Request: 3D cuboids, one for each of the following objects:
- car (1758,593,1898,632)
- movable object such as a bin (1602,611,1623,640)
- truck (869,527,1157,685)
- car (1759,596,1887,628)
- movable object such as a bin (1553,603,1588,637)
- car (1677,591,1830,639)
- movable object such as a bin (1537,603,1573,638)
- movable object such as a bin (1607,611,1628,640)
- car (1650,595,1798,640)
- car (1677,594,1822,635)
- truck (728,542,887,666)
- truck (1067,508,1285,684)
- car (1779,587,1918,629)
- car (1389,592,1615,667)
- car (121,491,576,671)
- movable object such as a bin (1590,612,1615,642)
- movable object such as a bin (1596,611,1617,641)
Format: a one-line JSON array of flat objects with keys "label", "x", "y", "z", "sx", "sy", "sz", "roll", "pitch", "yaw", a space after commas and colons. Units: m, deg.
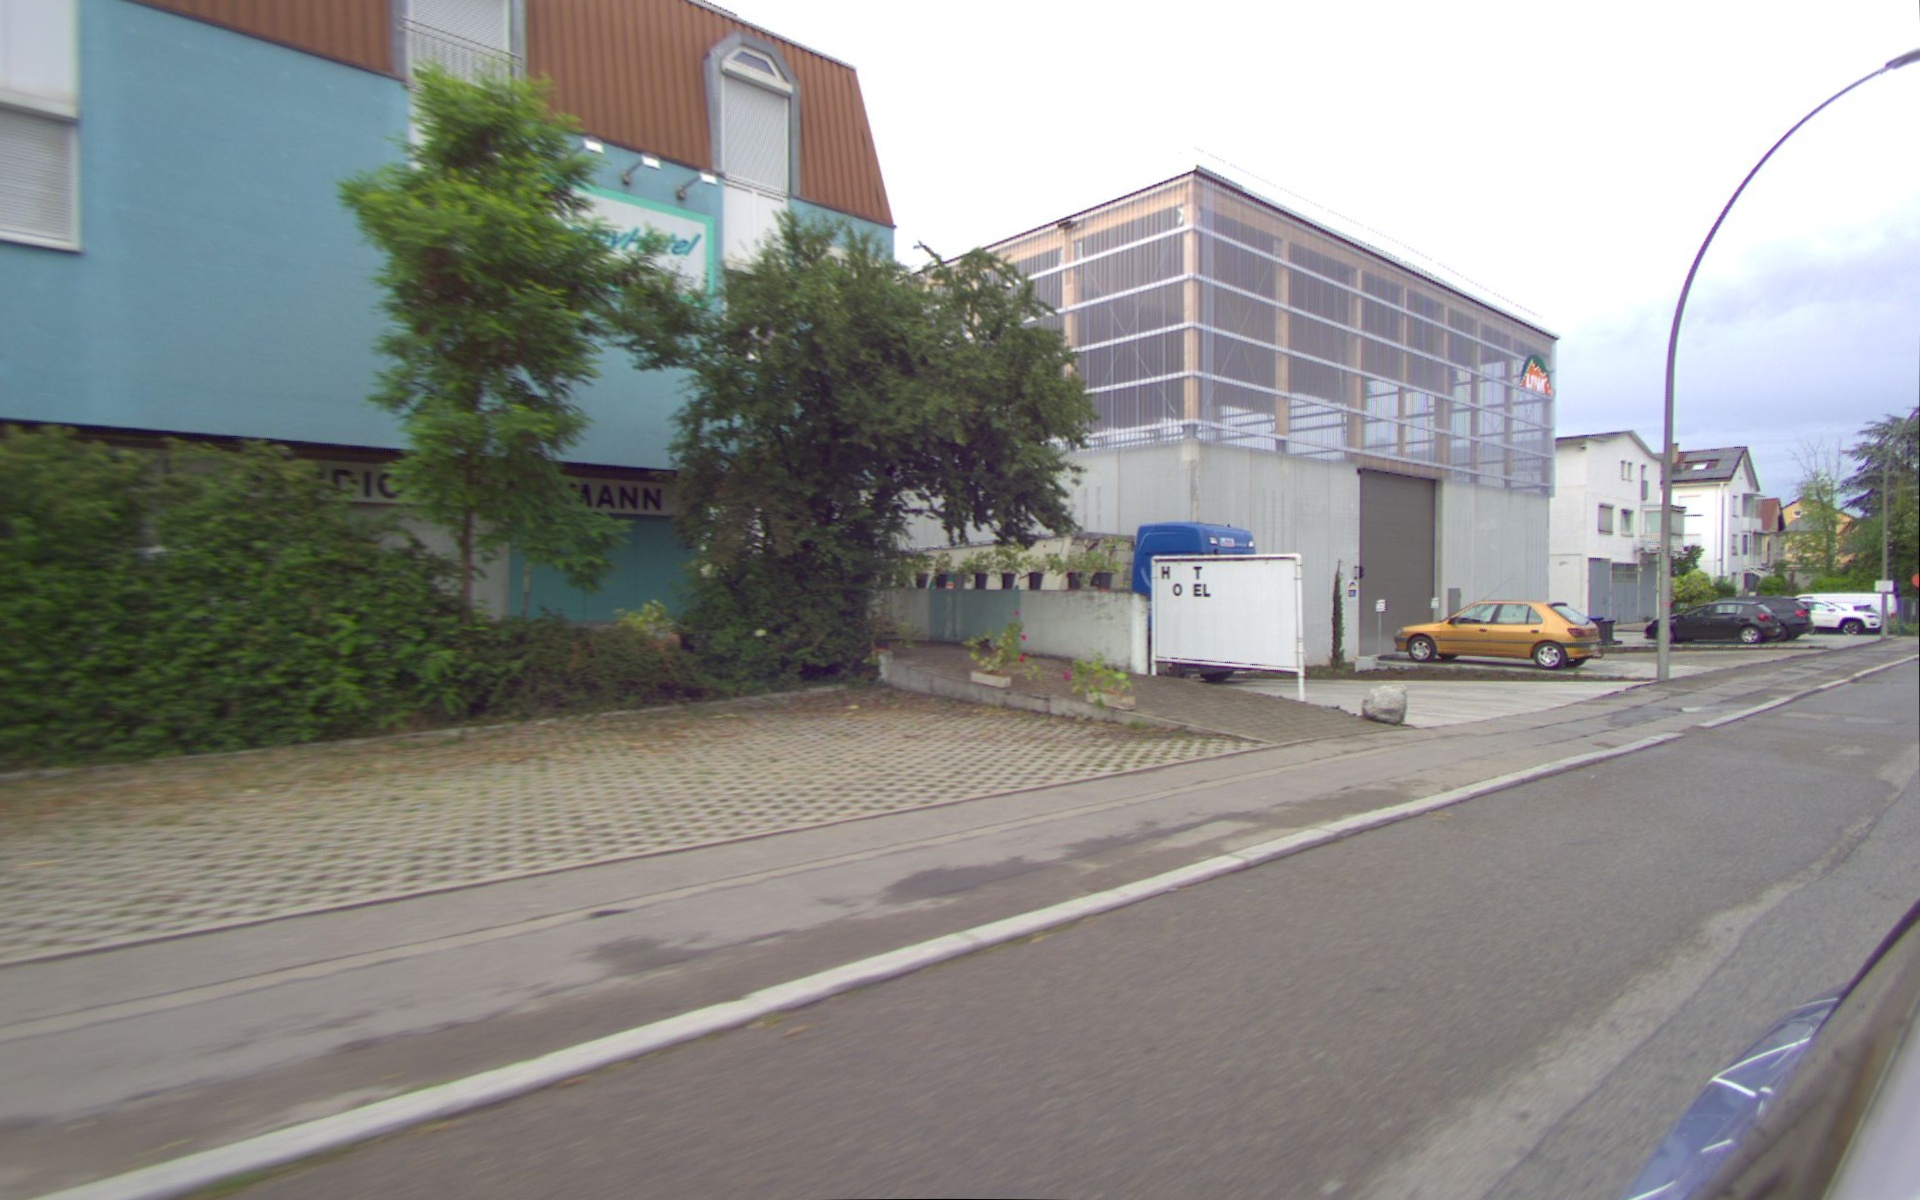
[{"label": "car", "x": 38.221, "y": 0.530, "z": 44.656, "sx": 1.861, "sy": 1.645, "sz": 4.452, "roll": 0, "pitch": 0, "yaw": -41}, {"label": "movable object such as a bin", "x": 24.280, "y": 0.940, "z": 37.673, "sx": 0.542, "sy": 1.068, "sz": 0.496, "roll": 0, "pitch": -1, "yaw": -40}, {"label": "truck", "x": 1.149, "y": 0.200, "z": 28.122, "sx": 2.676, "sy": 3.755, "sz": 8.543, "roll": 0, "pitch": -1, "yaw": -42}, {"label": "car", "x": 39.961, "y": 0.542, "z": 46.930, "sx": 1.818, "sy": 1.396, "sz": 4.326, "roll": 0, "pitch": 0, "yaw": -41}, {"label": "movable object such as a bin", "x": 25.118, "y": 0.800, "z": 41.624, "sx": 1.307, "sy": 1.357, "sz": 0.839, "roll": 0, "pitch": -1, "yaw": -40}, {"label": "car", "x": 29.806, "y": 0.551, "z": 38.100, "sx": 1.946, "sy": 1.696, "sz": 4.233, "roll": 0, "pitch": 0, "yaw": -41}, {"label": "movable object such as a bin", "x": 23.830, "y": 0.814, "z": 40.522, "sx": 1.262, "sy": 1.357, "sz": 0.839, "roll": 0, "pitch": -1, "yaw": -40}, {"label": "movable object such as a bin", "x": 24.690, "y": 0.954, "z": 38.016, "sx": 0.496, "sy": 1.068, "sz": 0.518, "roll": 0, "pitch": -1, "yaw": -40}, {"label": "car", "x": 27.669, "y": 0.627, "z": 36.744, "sx": 1.800, "sy": 1.509, "sz": 3.974, "roll": 0, "pitch": -1, "yaw": -39}, {"label": "car", "x": 31.368, "y": 0.573, "z": 40.304, "sx": 1.780, "sy": 1.555, "sz": 4.250, "roll": 0, "pitch": -1, "yaw": -40}, {"label": "truck", "x": -5.466, "y": 0.170, "z": 35.544, "sx": 2.673, "sy": 3.971, "sz": 6.087, "roll": 0, "pitch": -1, "yaw": -41}, {"label": "truck", "x": 5.013, "y": -0.004, "z": 23.848, "sx": 2.674, "sy": 3.721, "sz": 4.147, "roll": 0, "pitch": -3, "yaw": -43}, {"label": "car", "x": 42.119, "y": 0.357, "z": 48.071, "sx": 1.965, "sy": 1.910, "sz": 4.740, "roll": 0, "pitch": 0, "yaw": -40}, {"label": "car", "x": 11.545, "y": 0.560, "z": 21.748, "sx": 1.603, "sy": 1.448, "sz": 3.992, "roll": 0, "pitch": 0, "yaw": -42}, {"label": "car", "x": -7.152, "y": -0.197, "z": 12.125, "sx": 4.356, "sy": 1.762, "sz": 1.995, "roll": -1, "pitch": 0, "yaw": -44}, {"label": "movable object such as a bin", "x": 23.415, "y": 0.961, "z": 36.889, "sx": 0.633, "sy": 1.068, "sz": 0.575, "roll": 0, "pitch": -1, "yaw": -40}, {"label": "movable object such as a bin", "x": 23.841, "y": 0.945, "z": 37.308, "sx": 0.534, "sy": 1.068, "sz": 0.513, "roll": 0, "pitch": -1, "yaw": -40}]
